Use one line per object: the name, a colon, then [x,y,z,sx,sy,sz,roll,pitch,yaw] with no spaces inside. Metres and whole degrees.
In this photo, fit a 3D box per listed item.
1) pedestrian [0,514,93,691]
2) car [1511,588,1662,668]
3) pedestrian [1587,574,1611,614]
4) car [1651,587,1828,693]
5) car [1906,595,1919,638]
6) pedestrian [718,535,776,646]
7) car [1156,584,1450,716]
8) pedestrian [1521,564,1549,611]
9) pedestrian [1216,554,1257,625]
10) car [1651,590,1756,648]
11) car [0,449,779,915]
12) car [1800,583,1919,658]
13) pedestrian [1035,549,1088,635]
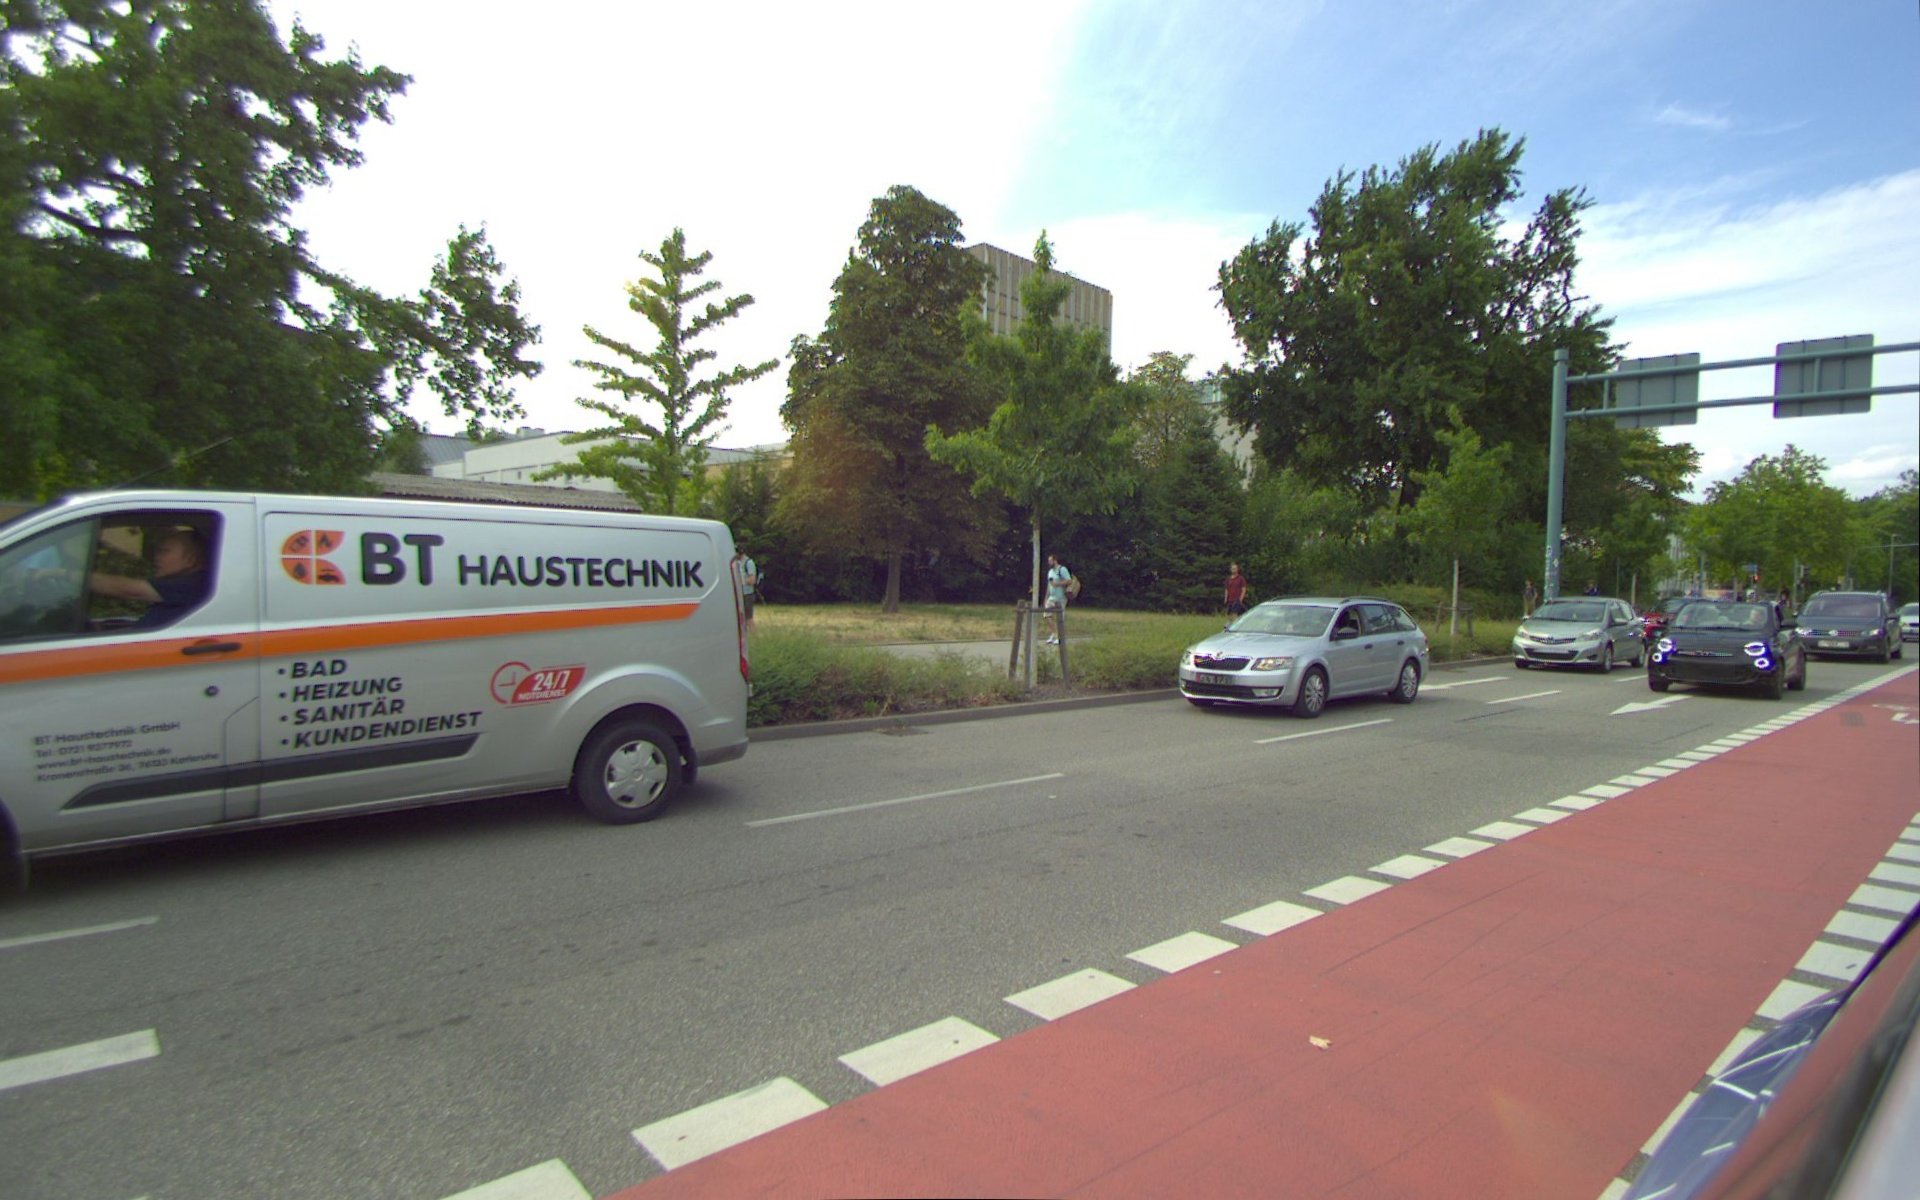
pedestrian: [-9.460,0.019,10.404,0.787,1.732,0.712,0,0,-45]
car: [13.046,0.511,20.994,3.809,1.508,1.668,-1,1,-42]
pedestrian: [27.556,-0.267,43.624,0.683,1.732,0.713,0,0,-41]
car: [12.609,0.558,16.316,3.382,1.508,1.669,-1,1,-42]
car: [35.788,0.568,36.738,4.151,1.476,1.757,-1,1,-42]
pedestrian: [-3.429,-0.162,16.287,0.684,1.716,0.543,0,4,-45]
car: [4.745,0.538,13.664,4.450,1.493,1.822,-1,1,-42]
pedestrian: [21.448,-0.468,37.731,0.683,1.732,0.713,0,0,-41]
pedestrian: [6.882,-0.268,25.188,0.683,1.732,0.713,0,0,-41]
car: [19.643,0.447,26.681,3.400,1.433,1.667,-1,1,-43]
car: [-3.729,0.329,5.840,5.115,1.984,1.822,-1,1,-42]
car: [22.245,0.425,24.902,4.605,1.671,1.757,-1,1,-42]
pedestrian: [2.089,-0.172,20.852,0.684,1.732,0.840,0,0,-45]
